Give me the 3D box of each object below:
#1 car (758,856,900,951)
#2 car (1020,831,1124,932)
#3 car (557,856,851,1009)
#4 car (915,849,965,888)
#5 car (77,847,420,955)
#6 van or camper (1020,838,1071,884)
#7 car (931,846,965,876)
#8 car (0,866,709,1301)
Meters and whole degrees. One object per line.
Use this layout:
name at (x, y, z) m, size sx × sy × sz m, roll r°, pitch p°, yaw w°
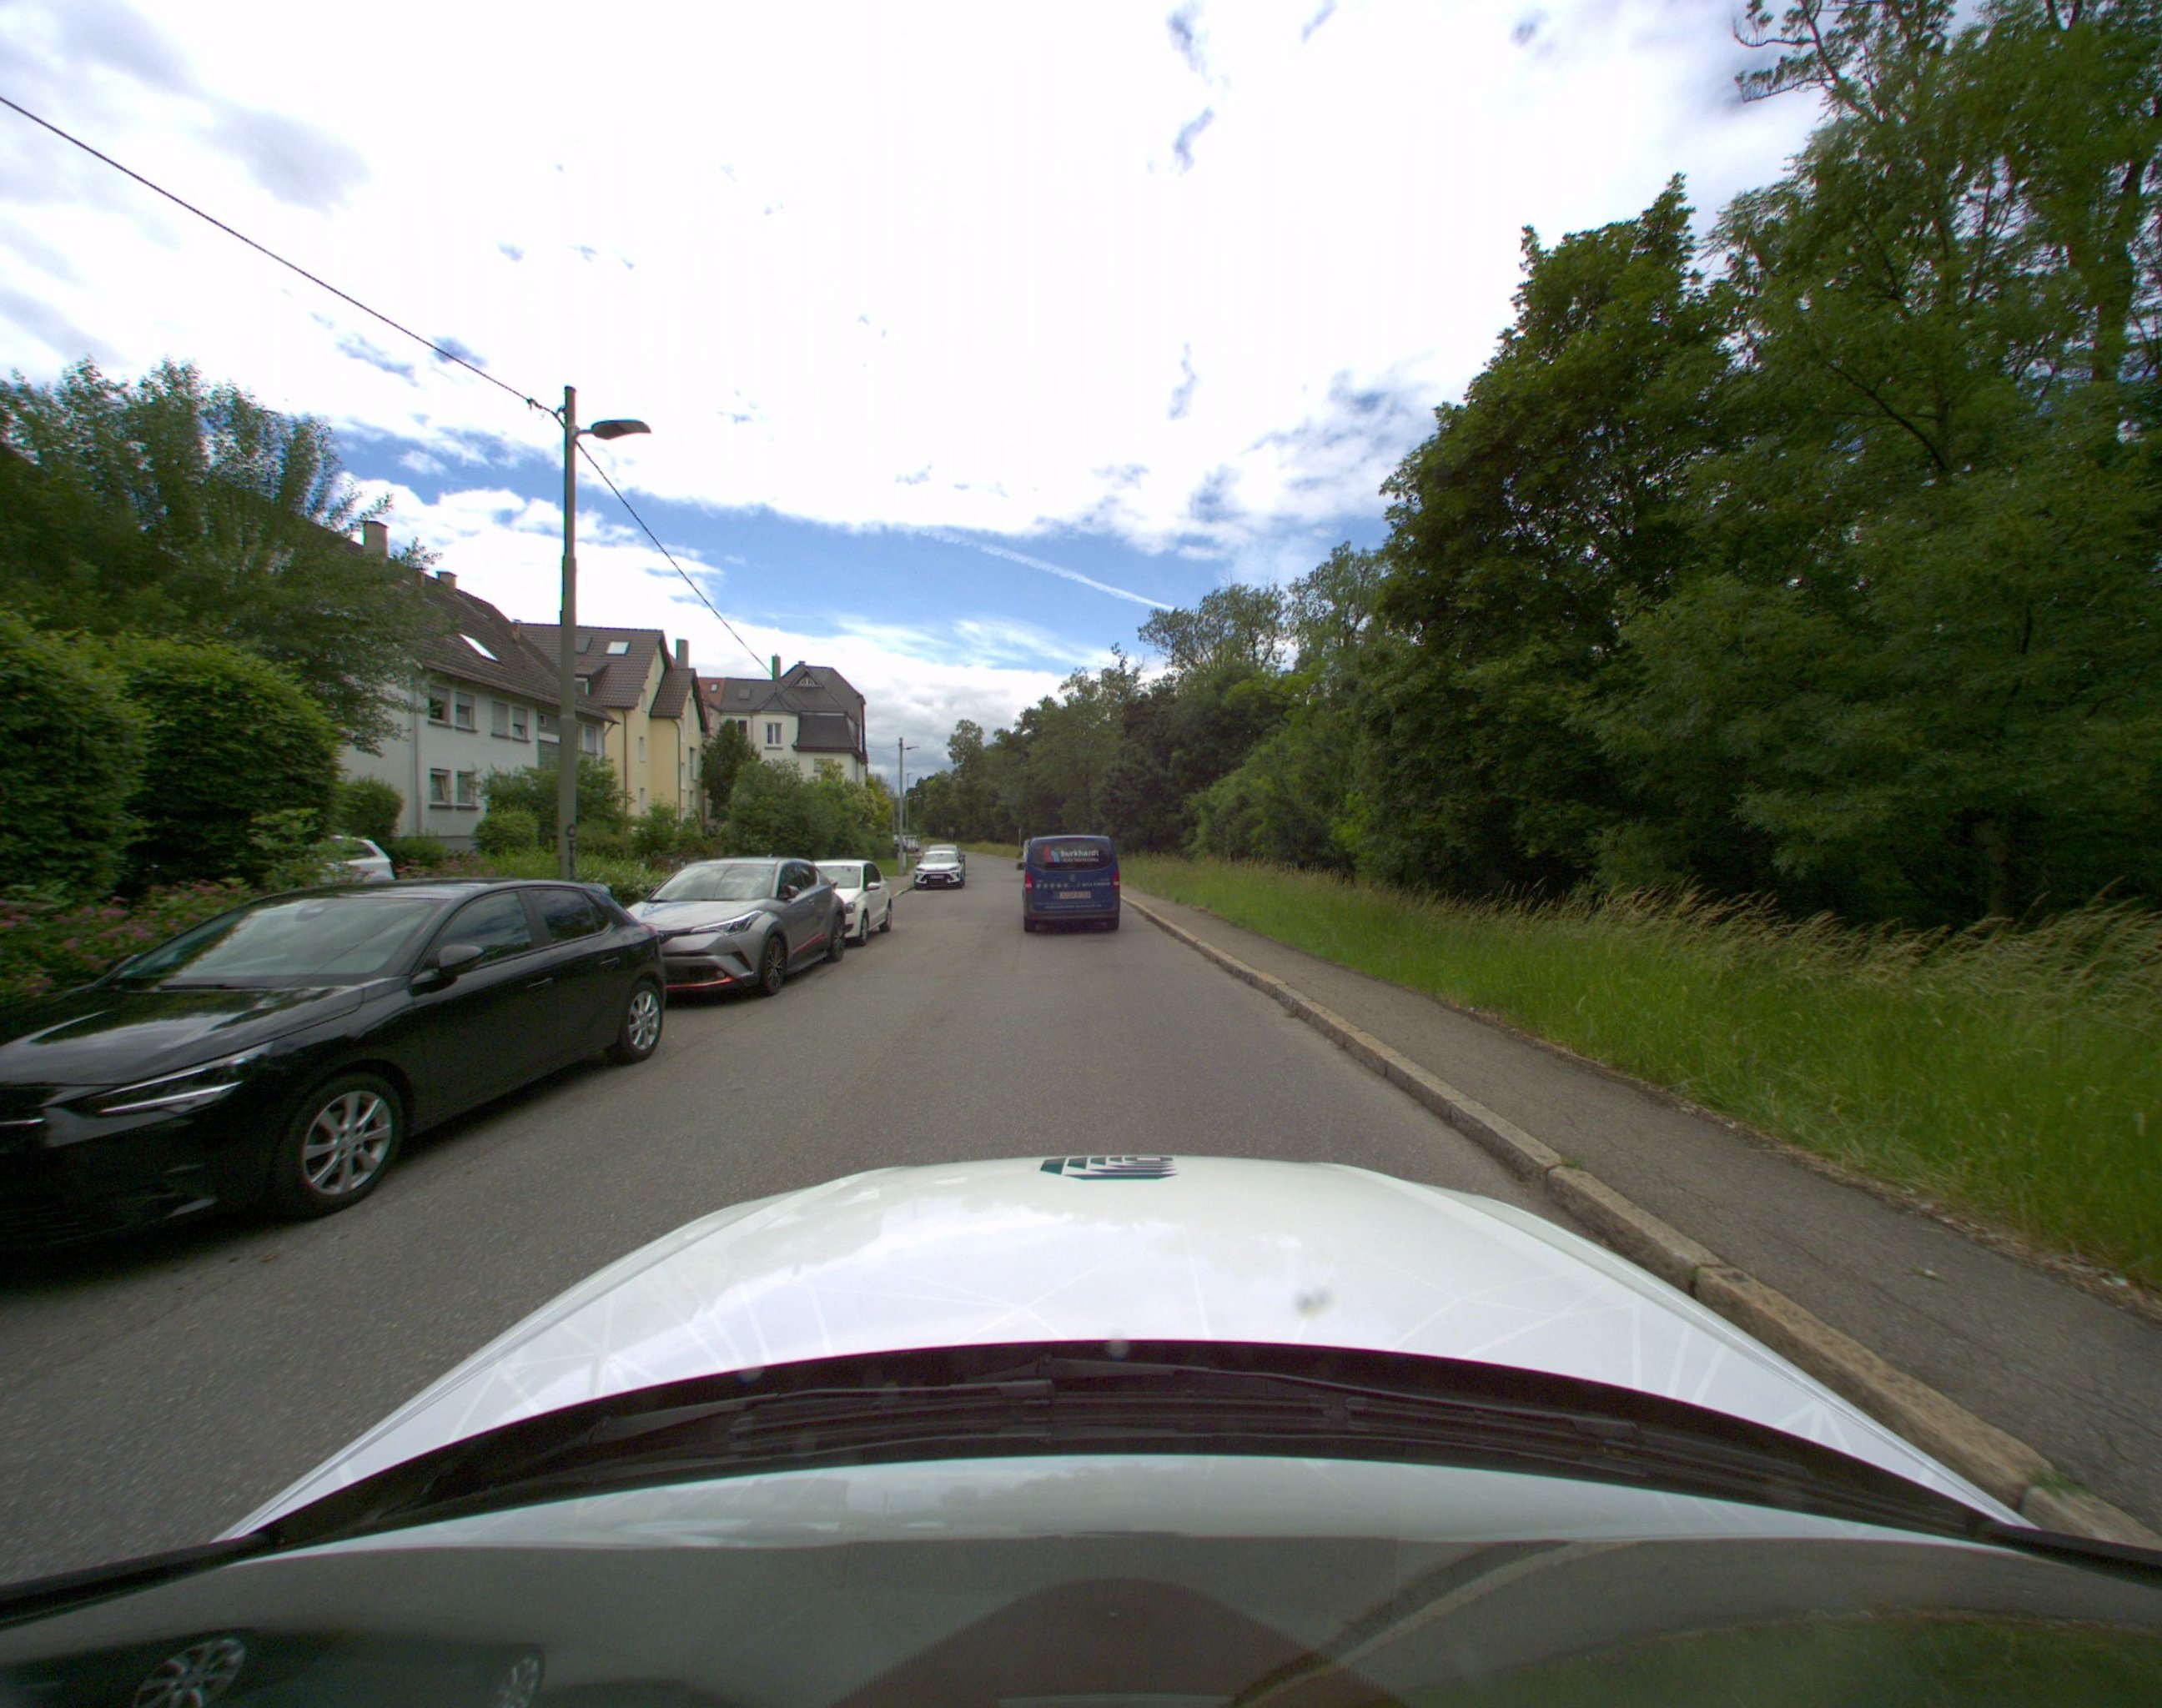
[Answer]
car at (-4.437, 0.797, 14.936) m, size 1.620 × 1.480 × 3.922 m, roll 1°, pitch 0°, yaw -4°
car at (-0.315, 0.521, 17.166) m, size 1.910 × 1.837 × 4.287 m, roll -1°, pitch 0°, yaw -4°
car at (-4.276, 0.769, 10.050) m, size 1.756 × 1.480 × 4.125 m, roll 0°, pitch 0°, yaw -1°
car at (-5.680, 0.563, 33.252) m, size 1.722 × 1.492 × 4.403 m, roll 0°, pitch 0°, yaw -7°
car at (-13.544, 0.654, 13.662) m, size 1.698 × 1.457 × 3.931 m, roll -1°, pitch 1°, yaw -2°
van or camper at (-1.752, 0.281, 38.640) m, size 2.018 × 1.956 × 4.884 m, roll -2°, pitch 1°, yaw -7°
car at (-7.617, 0.403, 46.814) m, size 1.814 × 1.615 × 4.212 m, roll 1°, pitch 0°, yaw -8°
car at (-4.076, 0.833, 4.988) m, size 1.644 × 1.441 × 4.331 m, roll 0°, pitch 0°, yaw -1°
